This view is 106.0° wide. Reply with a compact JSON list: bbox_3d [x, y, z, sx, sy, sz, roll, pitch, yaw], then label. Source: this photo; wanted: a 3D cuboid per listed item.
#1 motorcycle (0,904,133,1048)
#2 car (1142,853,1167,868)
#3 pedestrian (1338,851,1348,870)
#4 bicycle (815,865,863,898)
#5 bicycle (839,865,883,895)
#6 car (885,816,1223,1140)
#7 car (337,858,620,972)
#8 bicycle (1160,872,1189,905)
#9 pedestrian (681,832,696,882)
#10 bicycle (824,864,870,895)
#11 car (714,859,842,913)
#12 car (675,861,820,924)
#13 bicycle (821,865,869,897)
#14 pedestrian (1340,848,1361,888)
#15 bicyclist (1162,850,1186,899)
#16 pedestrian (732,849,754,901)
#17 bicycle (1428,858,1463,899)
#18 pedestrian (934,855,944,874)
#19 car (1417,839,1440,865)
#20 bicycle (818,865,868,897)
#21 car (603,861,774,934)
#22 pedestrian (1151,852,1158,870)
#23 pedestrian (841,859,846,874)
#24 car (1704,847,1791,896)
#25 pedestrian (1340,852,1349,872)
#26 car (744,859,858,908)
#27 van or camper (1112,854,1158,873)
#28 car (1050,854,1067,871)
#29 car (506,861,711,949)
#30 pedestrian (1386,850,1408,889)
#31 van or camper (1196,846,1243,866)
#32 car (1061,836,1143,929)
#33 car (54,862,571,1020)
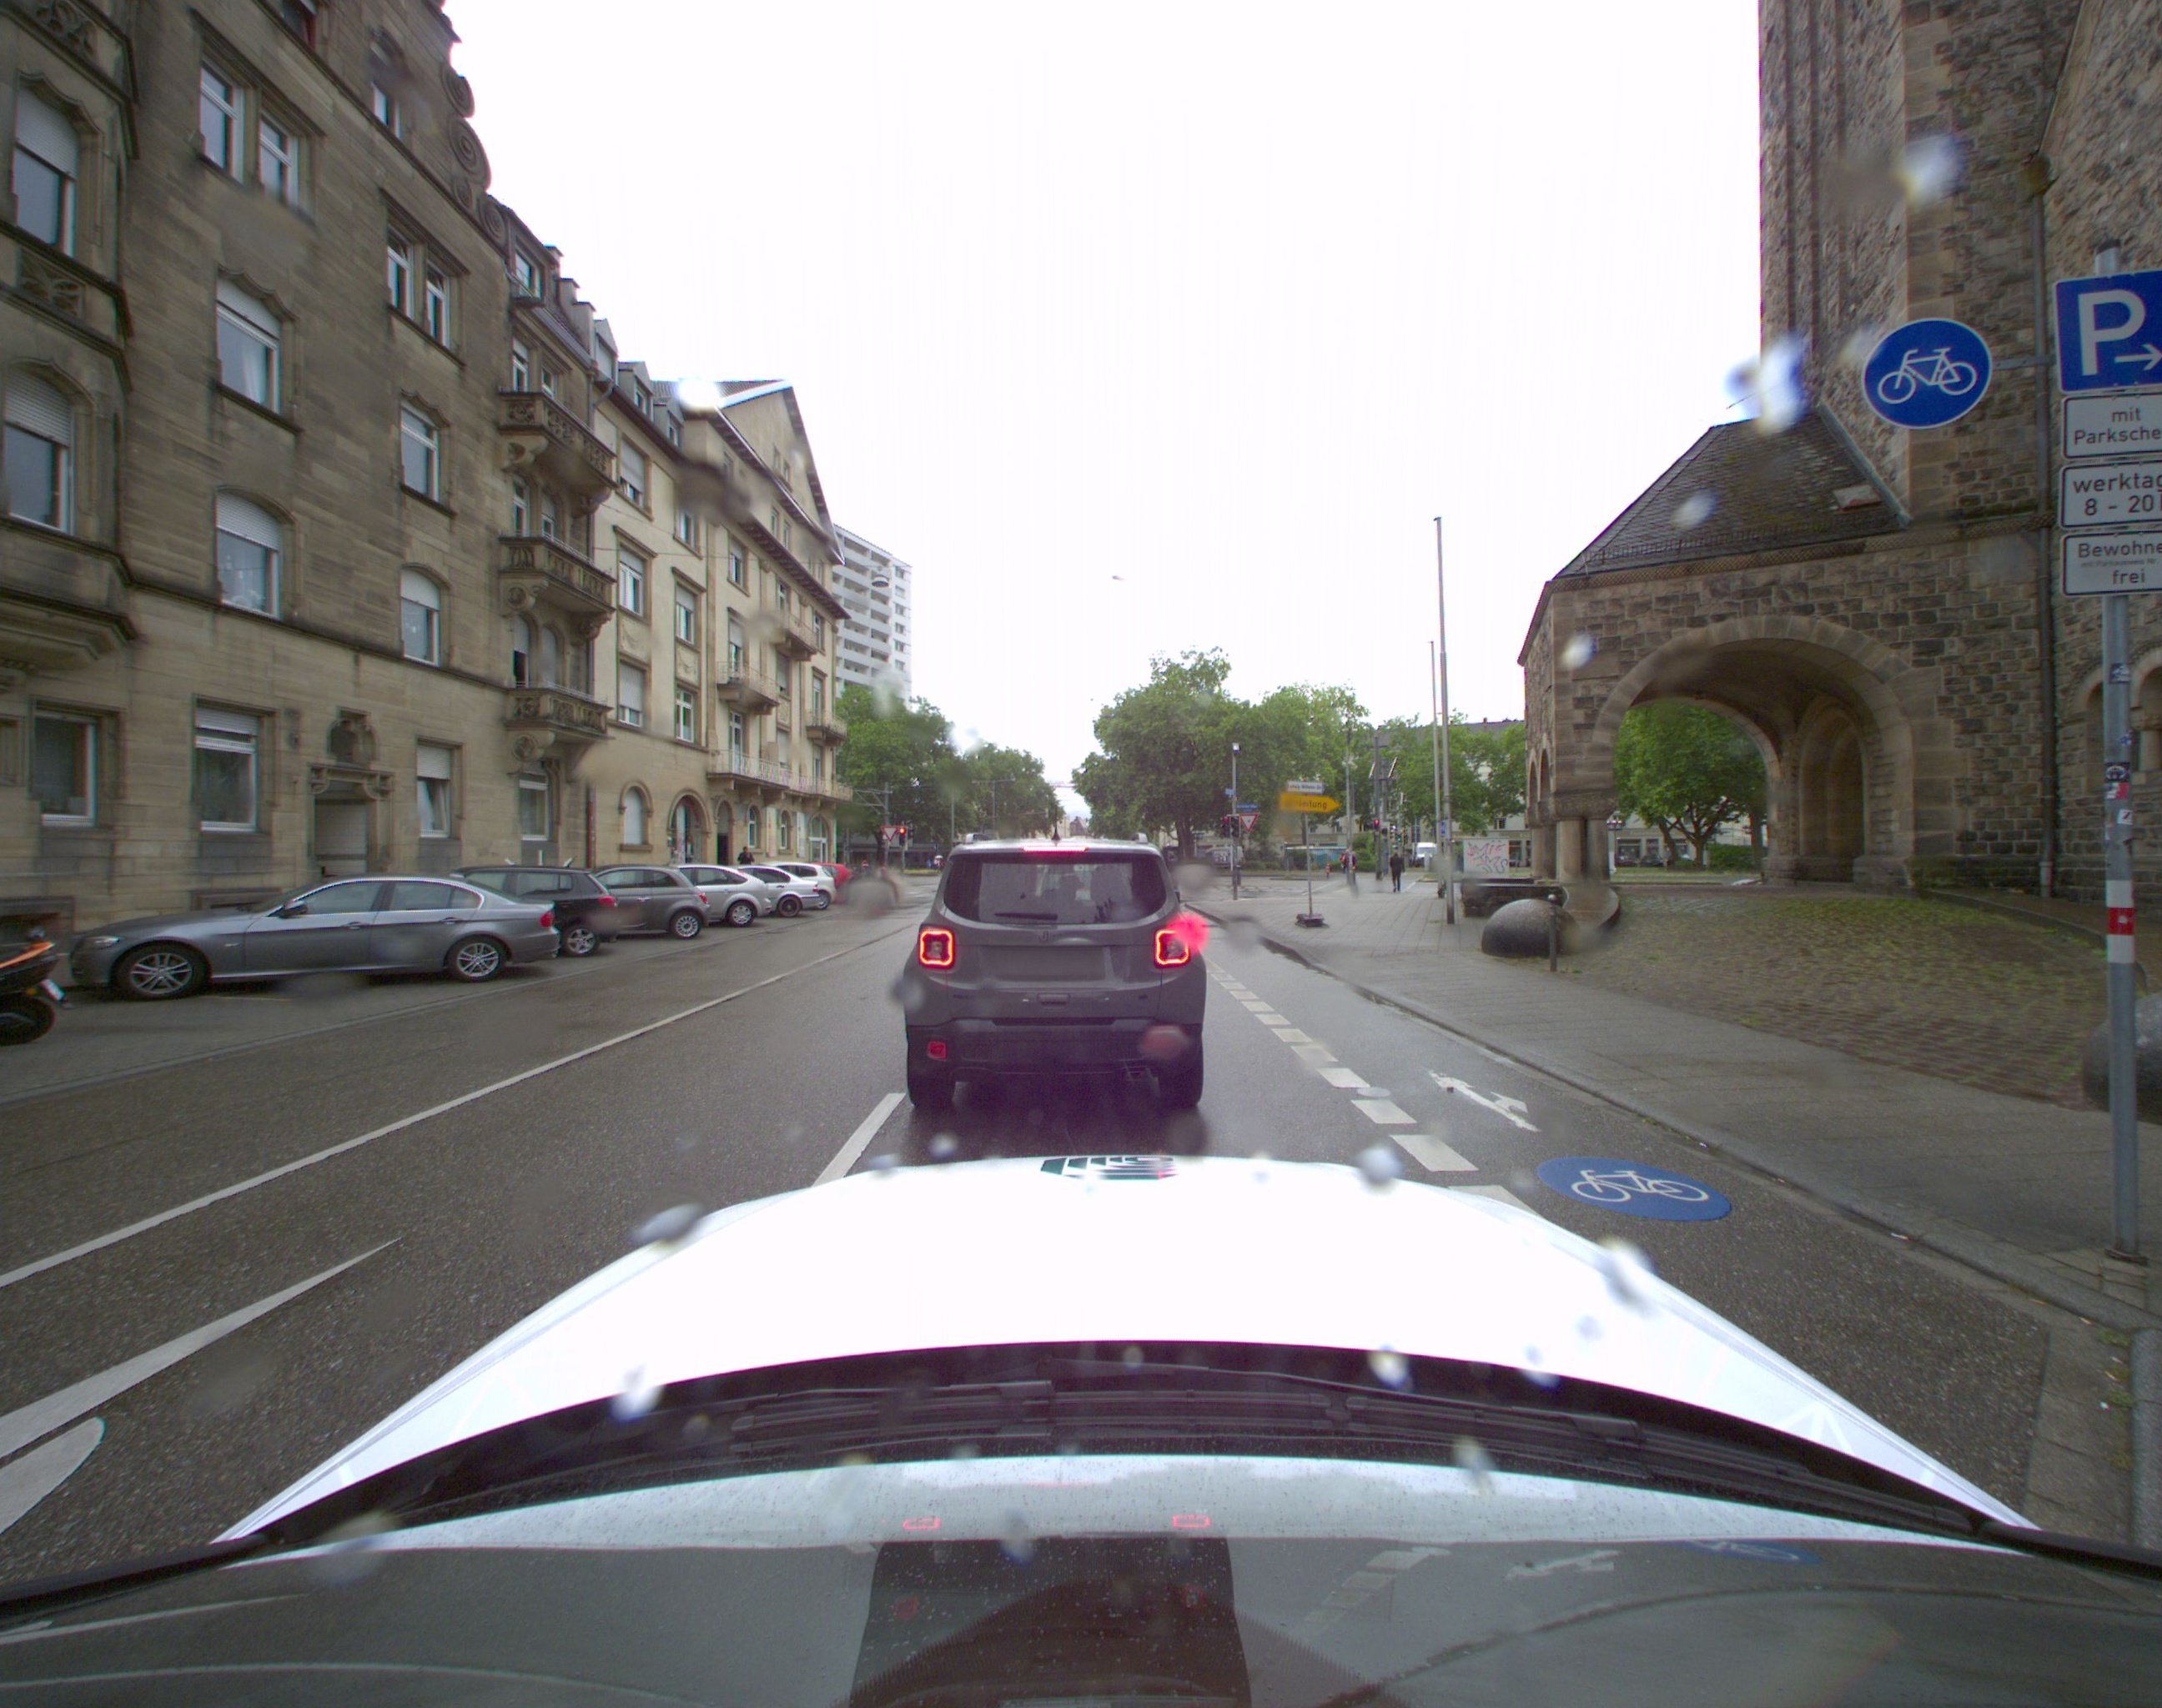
[{"bbox_3d":[-9.410,1.013,6.755,1.880,1.162,0.627,2,-2,-36],"label":"motorcycle"},{"bbox_3d":[10.796,0.931,119.429,3.411,2.014,1.554,-2,-1,15],"label":"car"},{"bbox_3d":[21.581,0.572,67.110,0.667,1.554,0.766,-1,-2,29],"label":"pedestrian"},{"bbox_3d":[-9.596,1.094,32.324,1.758,1.266,0.522,-1,-1,-1],"label":"bicycle"},{"bbox_3d":[-9.570,1.135,35.463,1.758,1.266,0.608,-1,-1,-1],"label":"bicycle"},{"bbox_3d":[-0.121,0.670,6.299,1.769,1.687,3.848,-2,0,1],"label":"car"},{"bbox_3d":[-9.783,0.894,13.460,3.571,1.598,1.587,-1,0,-38],"label":"car"},{"bbox_3d":[3.177,1.151,27.780,0.689,1.021,2.658,-2,0,1],"label":"bicycle"},{"bbox_3d":[-14.435,0.128,29.976,0.365,1.823,0.347,-1,-1,-1],"label":"pedestrian"},{"bbox_3d":[-9.935,1.093,34.592,1.758,1.266,0.608,-1,-1,-1],"label":"bicycle"},{"bbox_3d":[-9.512,0.955,25.619,3.419,1.558,1.686,-1,0,-38],"label":"car"},{"bbox_3d":[-9.287,1.012,22.754,3.419,1.558,1.686,-1,0,-38],"label":"car"},{"bbox_3d":[-9.709,1.101,33.558,1.804,1.266,0.498,-1,-1,-1],"label":"bicycle"},{"bbox_3d":[11.918,0.608,36.047,0.780,1.759,0.949,-2,-1,16],"label":"pedestrian"},{"bbox_3d":[3.158,0.699,27.848,0.684,1.617,0.884,-2,0,0],"label":"bicyclist"},{"bbox_3d":[-13.410,0.830,32.304,0.565,2.014,0.655,-1,-1,1],"label":"pedestrian"},{"bbox_3d":[11.002,0.716,24.641,0.327,1.154,2.079,-1,0,7],"label":"bicycle"},{"bbox_3d":[-13.806,1.030,79.117,0.613,1.826,0.698,-2,-1,22],"label":"pedestrian"},{"bbox_3d":[35.506,-0.149,83.191,1.889,2.555,4.815,-1,0,25],"label":"car"},{"bbox_3d":[-9.599,1.088,32.872,1.804,1.266,0.498,-1,-1,-1],"label":"bicycle"},{"bbox_3d":[-9.392,0.978,19.571,3.419,1.558,1.686,-1,0,-38],"label":"car"},{"bbox_3d":[8.378,0.830,92.614,0.646,2.014,0.484,-1,-1,14],"label":"pedestrian"},{"bbox_3d":[-25.252,1.331,86.693,0.442,1.530,0.640,-1,-1,-13],"label":"pedestrian"},{"bbox_3d":[21.457,0.539,26.340,1.389,1.479,3.239,-1,0,25],"label":"car"},{"bbox_3d":[21.372,0.686,65.966,0.607,1.603,0.497,-1,-1,26],"label":"pedestrian"},{"bbox_3d":[-9.770,0.995,28.494,3.419,1.558,1.686,-1,0,-38],"label":"car"},{"bbox_3d":[8.205,1.472,124.749,6.466,2.912,2.509,-1,0,26],"label":"van or camper"},{"bbox_3d":[-2.367,0.884,84.650,1.717,1.739,3.726,-1,0,-2],"label":"car"},{"bbox_3d":[-9.540,0.952,16.544,3.419,1.558,1.634,-1,0,-38],"label":"car"},{"bbox_3d":[13.365,0.651,34.458,0.775,1.645,0.659,-2,-1,25],"label":"pedestrian"},{"bbox_3d":[16.025,0.208,94.604,5.234,2.315,2.093,0,0,5],"label":"van or camper"},{"bbox_3d":[0.511,0.630,19.965,1.764,2.013,4.001,-1,0,1],"label":"car"},{"bbox_3d":[-9.413,0.924,10.530,4.573,1.545,1.668,-1,0,-42],"label":"car"}]
